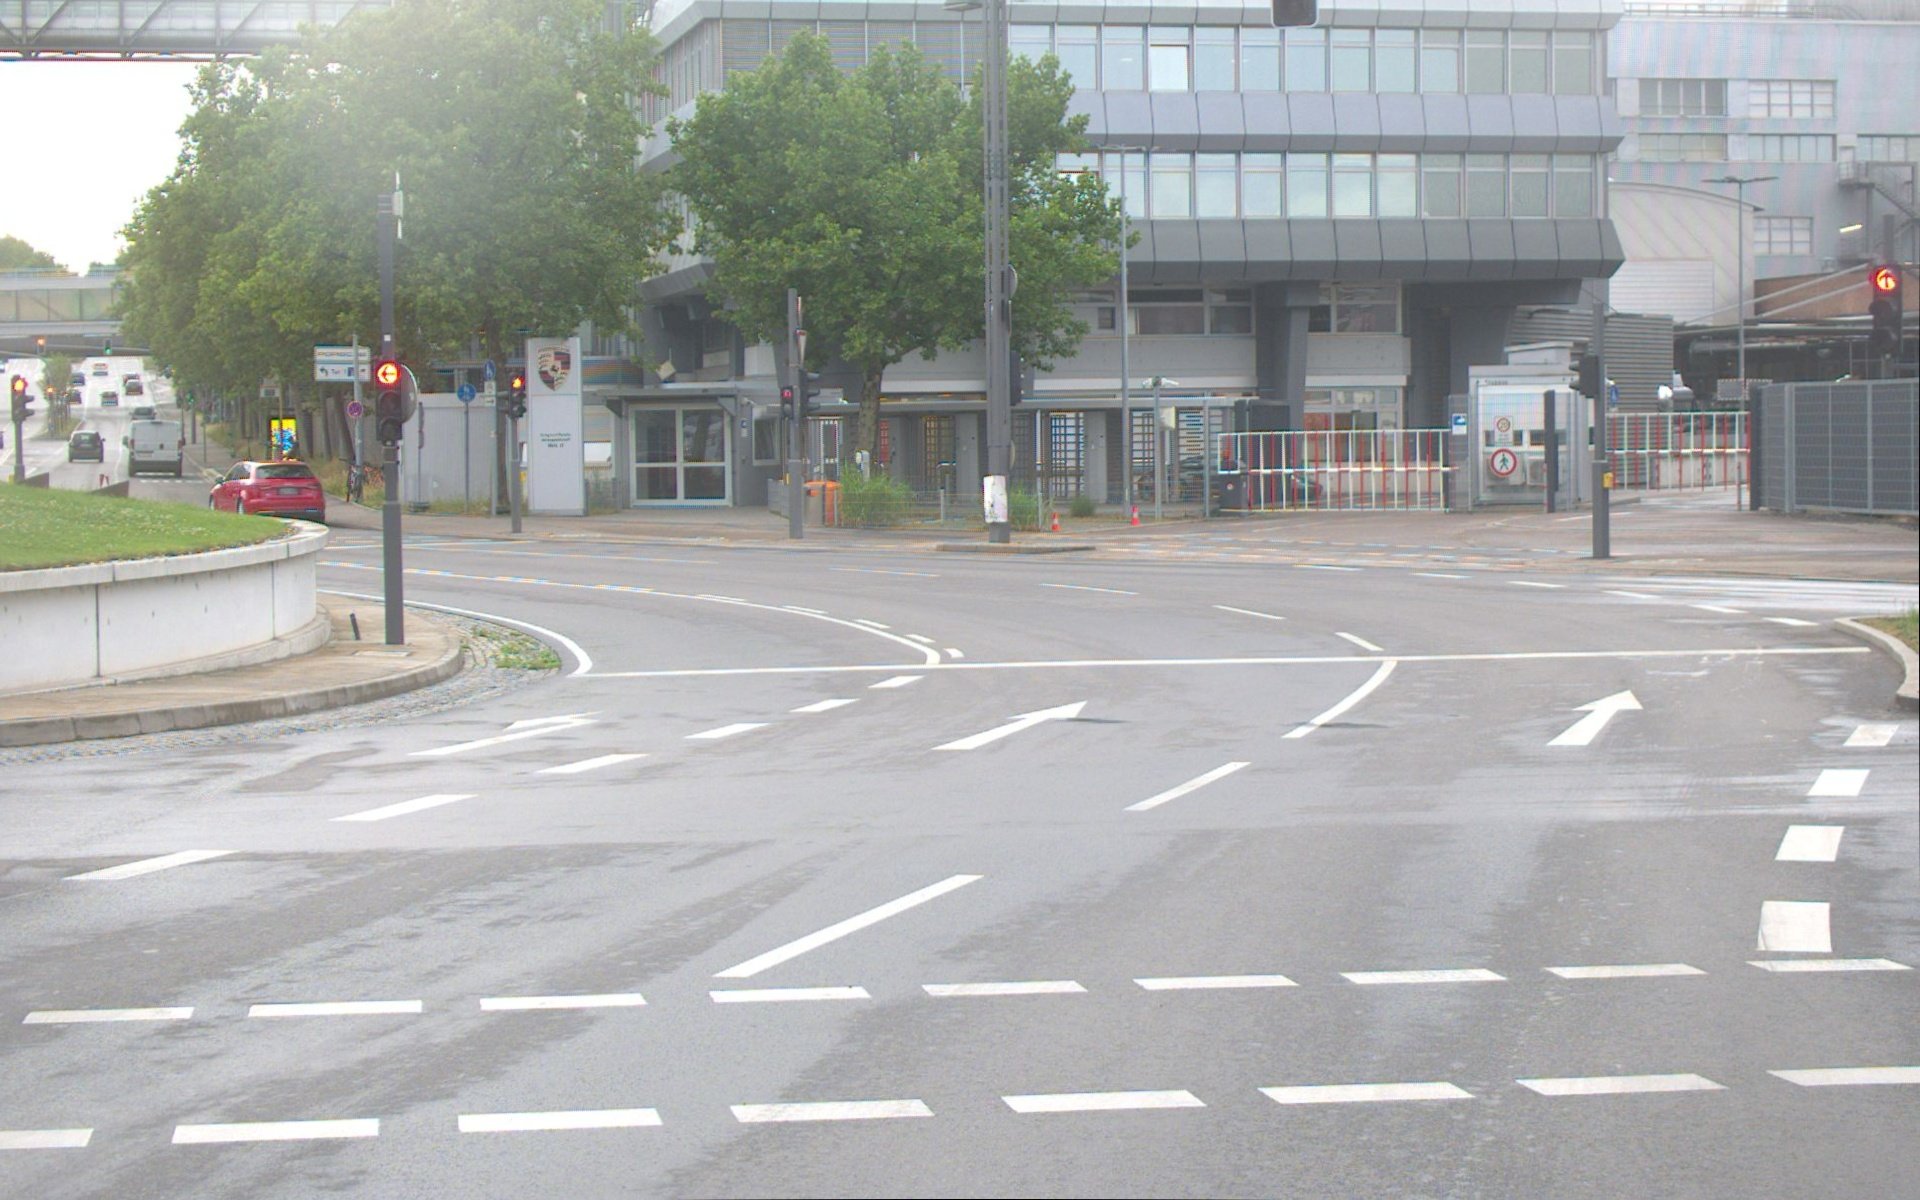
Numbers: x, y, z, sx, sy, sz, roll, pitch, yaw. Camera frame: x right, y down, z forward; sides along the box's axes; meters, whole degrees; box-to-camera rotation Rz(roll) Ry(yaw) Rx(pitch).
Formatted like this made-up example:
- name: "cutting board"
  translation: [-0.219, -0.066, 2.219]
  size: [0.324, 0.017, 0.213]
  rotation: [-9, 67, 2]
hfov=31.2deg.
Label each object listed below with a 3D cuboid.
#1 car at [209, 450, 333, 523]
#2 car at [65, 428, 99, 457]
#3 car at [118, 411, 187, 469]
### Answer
- name: "car"
  translation: [-14.630, -2.390, 72.904]
  size: [1.772, 1.459, 3.733]
  rotation: [-1, 1, -24]
- name: "car"
  translation: [-42.993, -7.700, 168.283]
  size: [1.556, 1.284, 3.415]
  rotation: [-1, 1, -14]
- name: "car"
  translation: [-32.079, -6.339, 136.448]
  size: [2.232, 2.100, 4.956]
  rotation: [-1, 0, -18]
